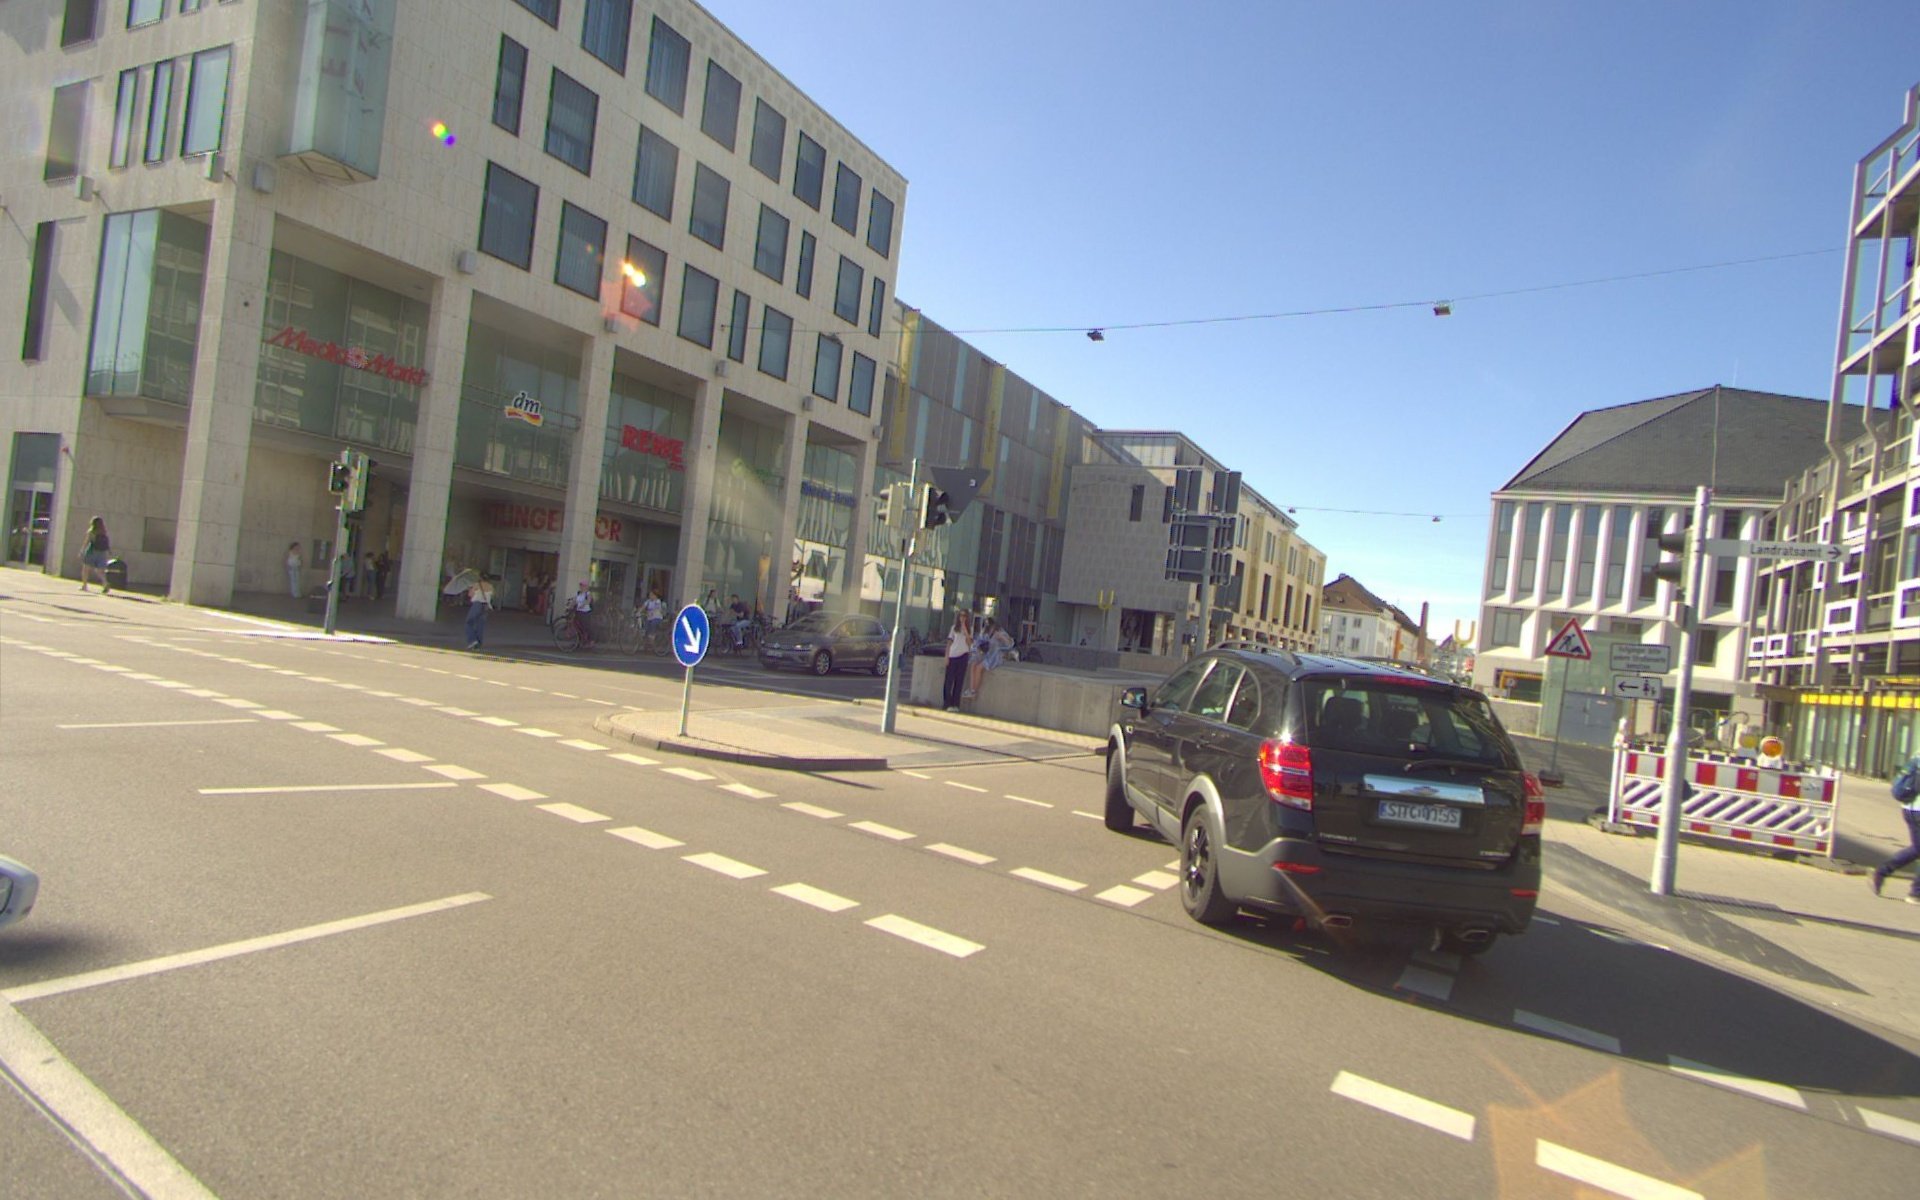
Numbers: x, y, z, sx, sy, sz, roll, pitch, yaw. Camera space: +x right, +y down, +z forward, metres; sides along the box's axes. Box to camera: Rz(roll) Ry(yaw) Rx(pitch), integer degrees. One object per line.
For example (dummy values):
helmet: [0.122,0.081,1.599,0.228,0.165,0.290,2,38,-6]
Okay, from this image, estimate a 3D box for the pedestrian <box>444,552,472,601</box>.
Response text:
pedestrian: [-19.175,-0.901,38.406,0.639,1.784,0.555,7,1,-10]

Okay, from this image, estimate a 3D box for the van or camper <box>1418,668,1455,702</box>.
van or camper: [40.913,7.321,86.310,2.284,2.544,6.421,7,-1,29]

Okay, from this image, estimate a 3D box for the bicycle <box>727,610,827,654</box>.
bicycle: [-6.385,1.110,35.047,3.437,1.107,1.068,6,-1,29]

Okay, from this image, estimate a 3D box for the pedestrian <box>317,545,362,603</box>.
pedestrian: [-18.749,-0.790,30.381,0.737,1.627,0.725,8,1,27]

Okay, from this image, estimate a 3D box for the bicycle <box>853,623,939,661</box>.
bicycle: [-2.686,1.741,41.808,3.437,1.107,1.068,6,-1,29]

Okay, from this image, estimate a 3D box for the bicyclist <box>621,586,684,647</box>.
bicyclist: [-7.943,0.426,25.987,1.058,1.413,0.934,7,0,30]

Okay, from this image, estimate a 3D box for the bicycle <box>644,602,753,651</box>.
bicycle: [-8.229,0.812,31.609,3.437,1.107,1.068,6,-1,29]

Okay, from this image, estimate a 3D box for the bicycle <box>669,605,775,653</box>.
bicycle: [-7.746,0.923,32.641,3.437,1.107,1.068,6,-1,29]

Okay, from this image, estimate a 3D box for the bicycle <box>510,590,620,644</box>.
bicycle: [-10.824,0.461,27.562,2.939,1.107,1.068,7,-1,28]

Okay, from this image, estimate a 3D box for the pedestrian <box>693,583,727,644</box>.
pedestrian: [-8.318,0.442,33.445,0.727,1.930,0.637,7,0,4]

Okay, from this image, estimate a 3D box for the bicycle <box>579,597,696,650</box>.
bicycle: [-9.468,0.677,29.487,3.437,1.107,1.068,7,-1,28]

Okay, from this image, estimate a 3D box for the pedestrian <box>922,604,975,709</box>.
pedestrian: [-0.178,0.909,16.404,0.517,1.633,0.661,6,2,17]

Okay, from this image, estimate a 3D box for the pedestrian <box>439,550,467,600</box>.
pedestrian: [-19.034,-0.922,37.765,0.639,1.784,0.555,7,1,-10]

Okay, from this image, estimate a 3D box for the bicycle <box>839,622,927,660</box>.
bicycle: [-3.139,1.643,40.755,3.437,1.107,1.068,6,-1,29]

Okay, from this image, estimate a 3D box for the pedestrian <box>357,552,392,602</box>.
pedestrian: [-20.245,-0.800,34.792,0.737,1.627,0.555,7,1,-10]

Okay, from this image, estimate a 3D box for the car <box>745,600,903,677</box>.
car: [-3.404,1.041,25.973,1.829,1.631,4.195,5,-2,28]

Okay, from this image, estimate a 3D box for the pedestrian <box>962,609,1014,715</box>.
pedestrian: [0.457,0.998,16.334,0.517,1.633,0.661,6,2,17]

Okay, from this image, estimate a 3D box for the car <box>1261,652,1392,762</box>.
car: [7.460,2.112,20.244,1.759,1.754,4.160,7,-2,28]

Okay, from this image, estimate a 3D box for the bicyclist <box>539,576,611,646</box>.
bicyclist: [-9.132,0.270,23.866,1.054,1.494,1.024,7,0,30]

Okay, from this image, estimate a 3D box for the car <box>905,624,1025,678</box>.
car: [0.256,1.678,32.215,1.829,1.437,4.615,5,-2,28]

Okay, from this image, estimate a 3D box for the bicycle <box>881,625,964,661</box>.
bicycle: [-1.656,1.857,43.894,3.437,1.107,1.068,6,-1,29]

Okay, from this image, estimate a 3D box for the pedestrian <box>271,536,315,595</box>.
pedestrian: [-19.885,-1.026,30.002,0.547,1.627,0.749,8,1,25]

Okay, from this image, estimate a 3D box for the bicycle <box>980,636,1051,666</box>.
bicycle: [2.828,2.617,51.855,3.437,1.107,1.068,6,-1,29]

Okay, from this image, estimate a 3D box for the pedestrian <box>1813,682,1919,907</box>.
pedestrian: [9.337,1.901,9.814,1.059,2.038,0.950,7,0,15]

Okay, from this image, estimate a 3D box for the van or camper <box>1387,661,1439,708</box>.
van or camper: [28.753,5.374,63.689,2.284,2.544,6.421,7,-1,29]

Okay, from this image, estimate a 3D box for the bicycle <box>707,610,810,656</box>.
bicycle: [-6.812,1.116,33.951,3.437,1.107,1.068,6,-1,29]

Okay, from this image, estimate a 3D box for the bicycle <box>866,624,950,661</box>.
bicycle: [-2.211,1.799,42.852,3.437,1.107,1.068,6,-1,29]

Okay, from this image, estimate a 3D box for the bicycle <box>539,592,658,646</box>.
bicycle: [-10.287,0.527,28.605,3.437,1.107,1.068,7,-1,28]

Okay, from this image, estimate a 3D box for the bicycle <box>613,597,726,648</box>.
bicycle: [-8.828,0.676,30.509,3.437,1.107,1.068,7,-1,28]

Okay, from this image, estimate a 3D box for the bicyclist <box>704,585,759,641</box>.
bicyclist: [-6.498,0.373,28.651,1.023,1.451,0.934,7,0,30]

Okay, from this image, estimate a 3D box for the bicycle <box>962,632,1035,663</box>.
bicycle: [1.914,2.374,50.526,3.437,1.107,1.068,6,-1,29]

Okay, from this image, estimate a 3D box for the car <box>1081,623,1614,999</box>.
car: [2.274,1.148,7.365,1.758,1.719,4.411,7,-1,-4]

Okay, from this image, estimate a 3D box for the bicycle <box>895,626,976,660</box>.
bicycle: [-1.109,1.912,44.920,3.437,1.107,1.068,6,-1,29]

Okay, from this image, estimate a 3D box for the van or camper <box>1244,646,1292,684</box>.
van or camper: [23.789,5.067,77.486,2.140,2.544,6.421,7,-1,28]

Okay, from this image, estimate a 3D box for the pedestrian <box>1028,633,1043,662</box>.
pedestrian: [4.629,2.907,61.559,0.563,1.704,0.537,7,0,19]

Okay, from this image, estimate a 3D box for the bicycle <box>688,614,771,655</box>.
bicycle: [-6.556,1.004,28.699,1.013,0.943,2.197,7,-1,30]

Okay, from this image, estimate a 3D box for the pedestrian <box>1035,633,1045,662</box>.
pedestrian: [4.838,2.881,60.648,0.290,1.704,0.337,7,0,35]

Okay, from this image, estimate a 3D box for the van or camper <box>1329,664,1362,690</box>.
van or camper: [44.091,8.840,114.931,2.141,2.544,6.417,7,-1,31]

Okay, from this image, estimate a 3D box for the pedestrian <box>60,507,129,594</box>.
pedestrian: [-19.654,-1.118,22.842,1.047,1.825,0.729,7,2,26]

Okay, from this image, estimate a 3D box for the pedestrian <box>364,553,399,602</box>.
pedestrian: [-20.373,-0.781,35.440,0.737,1.627,0.555,7,1,-10]

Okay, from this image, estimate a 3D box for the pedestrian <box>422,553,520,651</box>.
pedestrian: [-10.066,0.047,20.705,1.496,1.825,0.968,7,2,26]

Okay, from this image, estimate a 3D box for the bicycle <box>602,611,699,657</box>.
bicycle: [-7.984,0.895,26.025,1.054,0.954,2.197,7,-1,30]

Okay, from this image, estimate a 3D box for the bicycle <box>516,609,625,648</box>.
bicycle: [-9.190,0.688,23.827,1.054,0.679,2.197,6,-1,30]
